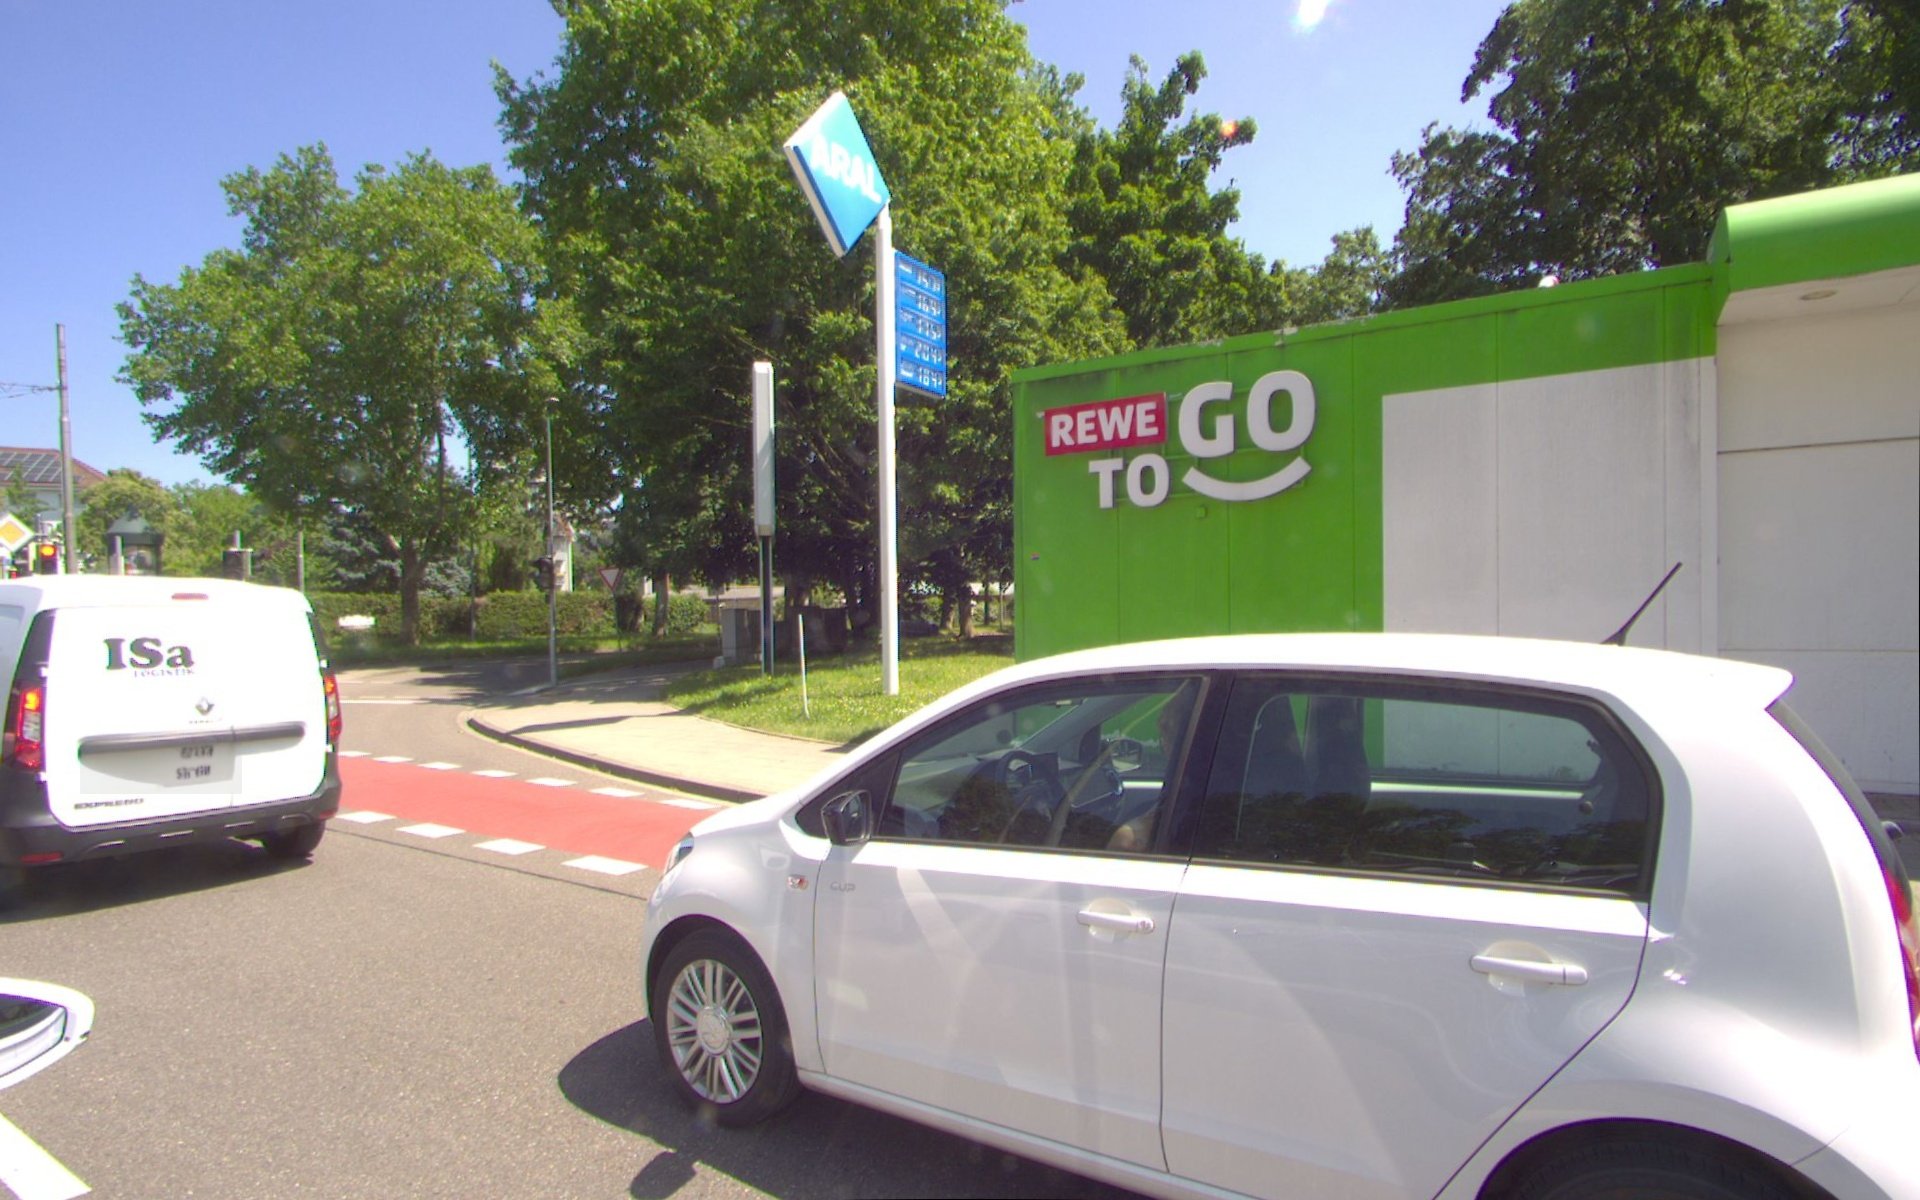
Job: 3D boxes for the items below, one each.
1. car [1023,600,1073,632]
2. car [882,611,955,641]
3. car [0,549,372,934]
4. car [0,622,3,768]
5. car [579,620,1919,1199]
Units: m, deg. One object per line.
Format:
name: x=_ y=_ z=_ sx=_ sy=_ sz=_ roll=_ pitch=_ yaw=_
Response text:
car: x=5.441 y=0.994 z=61.478 sx=1.966 sy=1.884 sz=3.989 roll=-1 pitch=0 yaw=23
car: x=-2.275 y=1.419 z=55.873 sx=1.976 sy=1.617 sz=3.970 roll=-1 pitch=-1 yaw=39
car: x=-5.820 y=0.723 z=6.579 sx=3.954 sy=1.854 sz=1.708 roll=-1 pitch=-1 yaw=31
car: x=-11.977 y=0.979 z=10.617 sx=3.943 sy=1.505 sz=1.753 roll=-1 pitch=-2 yaw=33
car: x=0.638 y=0.810 z=2.982 sx=3.472 sy=1.470 sz=1.603 roll=-1 pitch=0 yaw=34
